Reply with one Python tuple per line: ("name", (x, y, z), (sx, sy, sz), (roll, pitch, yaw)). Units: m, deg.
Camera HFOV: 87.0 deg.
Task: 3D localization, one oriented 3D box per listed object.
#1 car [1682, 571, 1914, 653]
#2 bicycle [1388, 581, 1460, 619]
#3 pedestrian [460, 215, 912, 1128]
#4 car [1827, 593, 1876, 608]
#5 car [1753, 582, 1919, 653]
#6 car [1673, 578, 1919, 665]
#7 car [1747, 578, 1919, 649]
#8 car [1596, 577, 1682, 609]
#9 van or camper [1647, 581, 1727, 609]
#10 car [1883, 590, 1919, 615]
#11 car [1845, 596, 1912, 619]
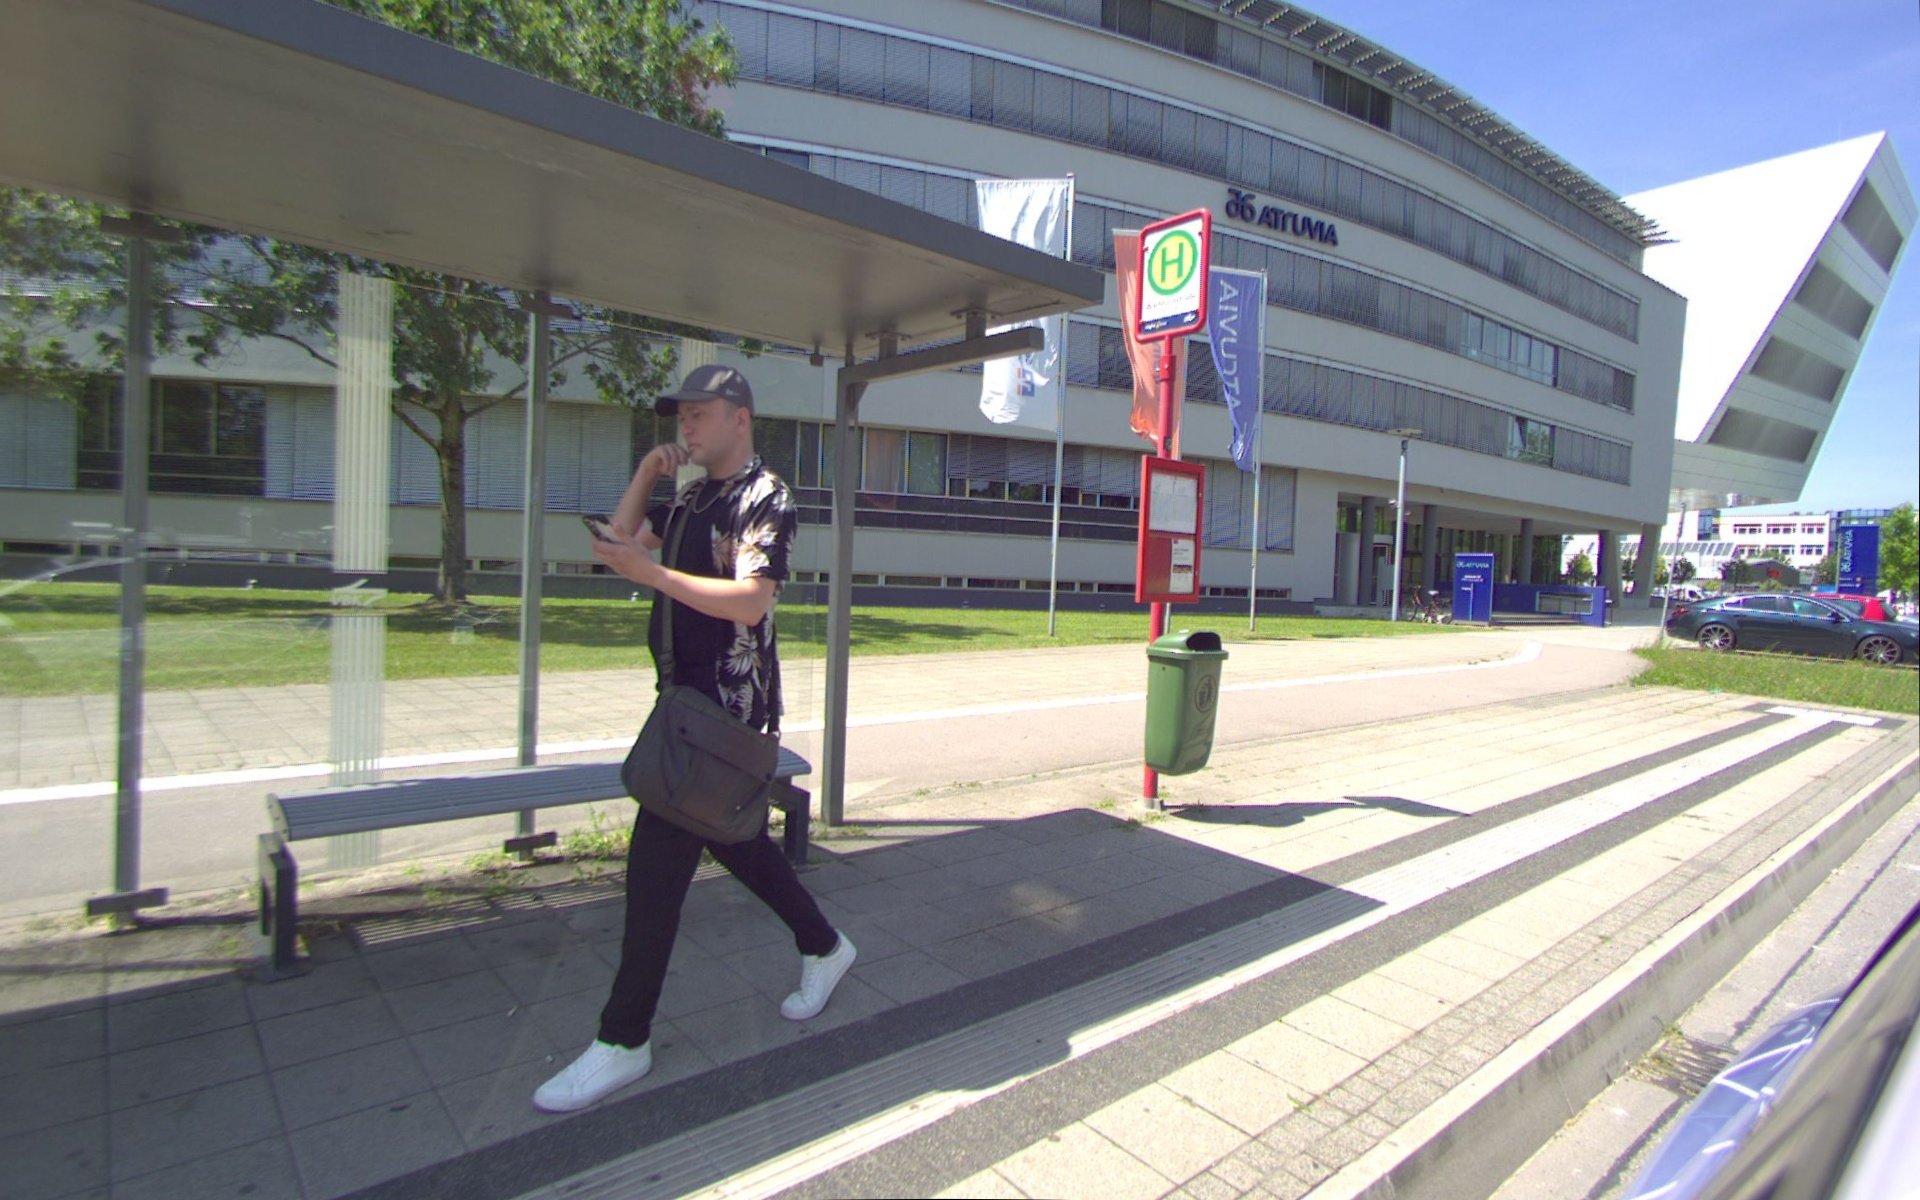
("car", (20.057, 0.226, 24.364), (1.806, 1.675, 3.997), (0, 3, -40))
("bicycle", (13.679, -0.016, 29.881), (0.524, 1.073, 1.882), (1, 1, -38))
("pedestrian", (-0.704, 0.134, 2.569), (0.812, 1.844, 0.709), (0, 4, -42))
("car", (111.707, 0.067, 126.853), (1.671, 1.678, 4.326), (1, 1, -36))
("car", (22.249, 0.409, 25.044), (1.626, 1.504, 3.817), (0, 4, -40))
("car", (18.544, 0.419, 22.058), (1.797, 1.449, 4.575), (0, 5, -43))
("car", (23.828, 0.348, 26.849), (1.755, 1.582, 4.331), (0, 4, -41))
("car", (56.580, -0.625, 84.477), (1.962, 2.490, 5.588), (1, 1, -36))
("van or camper", (66.347, -0.479, 92.429), (1.671, 2.420, 5.707), (1, 1, -36))
("car", (88.876, 0.267, 92.364), (2.124, 2.176, 6.500), (1, 1, -36))
("car", (75.096, 0.612, 82.779), (1.710, 1.695, 3.822), (0, 1, -39))
